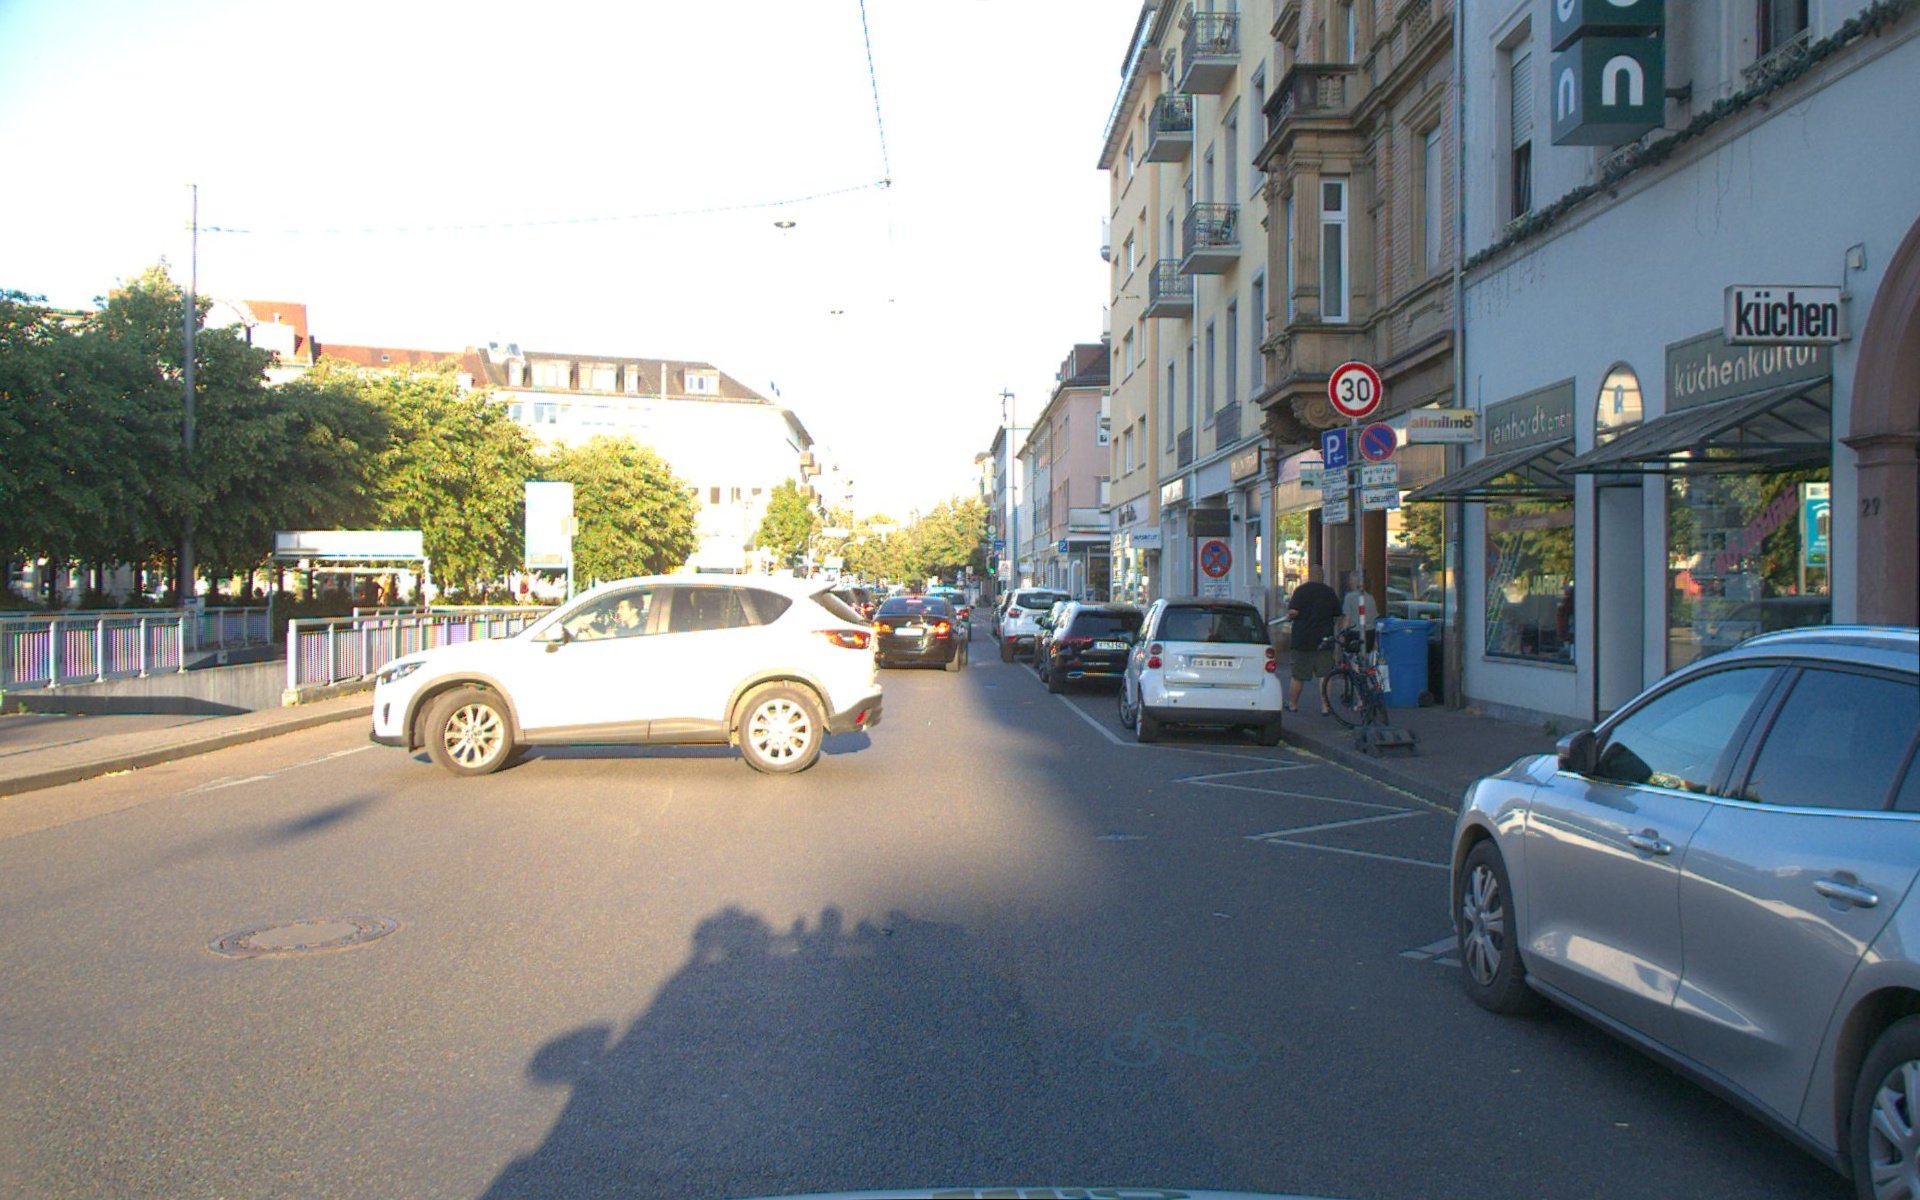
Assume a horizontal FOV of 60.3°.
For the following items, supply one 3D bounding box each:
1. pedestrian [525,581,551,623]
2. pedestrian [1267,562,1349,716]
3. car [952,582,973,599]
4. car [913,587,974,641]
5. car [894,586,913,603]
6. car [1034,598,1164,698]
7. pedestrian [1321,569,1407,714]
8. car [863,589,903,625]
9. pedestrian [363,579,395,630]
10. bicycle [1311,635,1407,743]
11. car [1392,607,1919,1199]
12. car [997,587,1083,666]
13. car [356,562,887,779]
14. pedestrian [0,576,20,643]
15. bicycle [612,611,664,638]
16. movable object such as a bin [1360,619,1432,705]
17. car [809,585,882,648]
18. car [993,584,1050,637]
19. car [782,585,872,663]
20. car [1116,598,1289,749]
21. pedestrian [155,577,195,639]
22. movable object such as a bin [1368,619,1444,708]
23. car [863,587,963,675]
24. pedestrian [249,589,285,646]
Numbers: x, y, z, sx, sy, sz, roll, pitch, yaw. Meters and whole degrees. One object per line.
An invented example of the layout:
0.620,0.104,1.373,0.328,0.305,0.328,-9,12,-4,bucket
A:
-16.469,0.070,64.543,0.773,1.623,0.568,1,0,18,pedestrian
4.339,0.466,20.687,0.757,1.859,1.010,-1,0,-2,pedestrian
0.234,-0.952,157.514,1.858,1.608,3.850,0,1,-2,car
-0.569,0.432,53.329,1.858,1.608,3.999,2,0,-2,car
-5.513,-0.516,161.196,1.743,1.574,3.998,1,0,-2,car
2.251,0.745,27.782,1.694,1.473,4.523,2,0,-1,car
5.022,0.504,20.613,0.757,1.741,1.041,-1,0,-2,pedestrian
-3.530,0.299,76.392,1.743,1.574,3.998,1,0,-2,car
-18.907,0.149,53.790,0.773,1.623,0.568,1,0,18,pedestrian
4.207,0.915,17.560,0.494,1.034,1.946,0,0,-2,bicycle
2.906,0.840,4.887,1.724,1.563,4.818,2,0,-3,car
1.832,0.596,38.859,1.694,1.679,4.283,2,0,-1,car
-2.844,0.581,14.768,4.362,1.792,1.999,0,0,-3,car
-23.475,0.216,40.338,0.773,1.623,0.568,1,0,18,pedestrian
-11.919,0.902,61.246,1.790,0.868,0.483,3,0,-5,bicycle
5.742,0.812,21.811,0.759,1.089,0.618,-2,0,-2,movable object such as a bin
-3.200,0.429,46.894,1.858,1.678,4.103,1,0,-2,car
2.070,0.354,56.356,1.694,1.680,3.969,2,0,-1,car
-3.024,0.520,38.343,1.858,1.678,4.103,1,0,-2,car
2.725,0.788,19.178,1.500,1.563,3.283,1,0,0,car
-20.946,0.208,44.152,0.663,1.623,0.677,1,0,18,pedestrian
5.692,0.807,21.139,0.759,1.089,0.618,-2,0,-2,movable object such as a bin
-0.945,0.575,33.351,1.858,1.608,3.999,2,0,-2,car
-20.098,0.505,48.000,0.663,1.623,0.677,1,0,18,pedestrian
